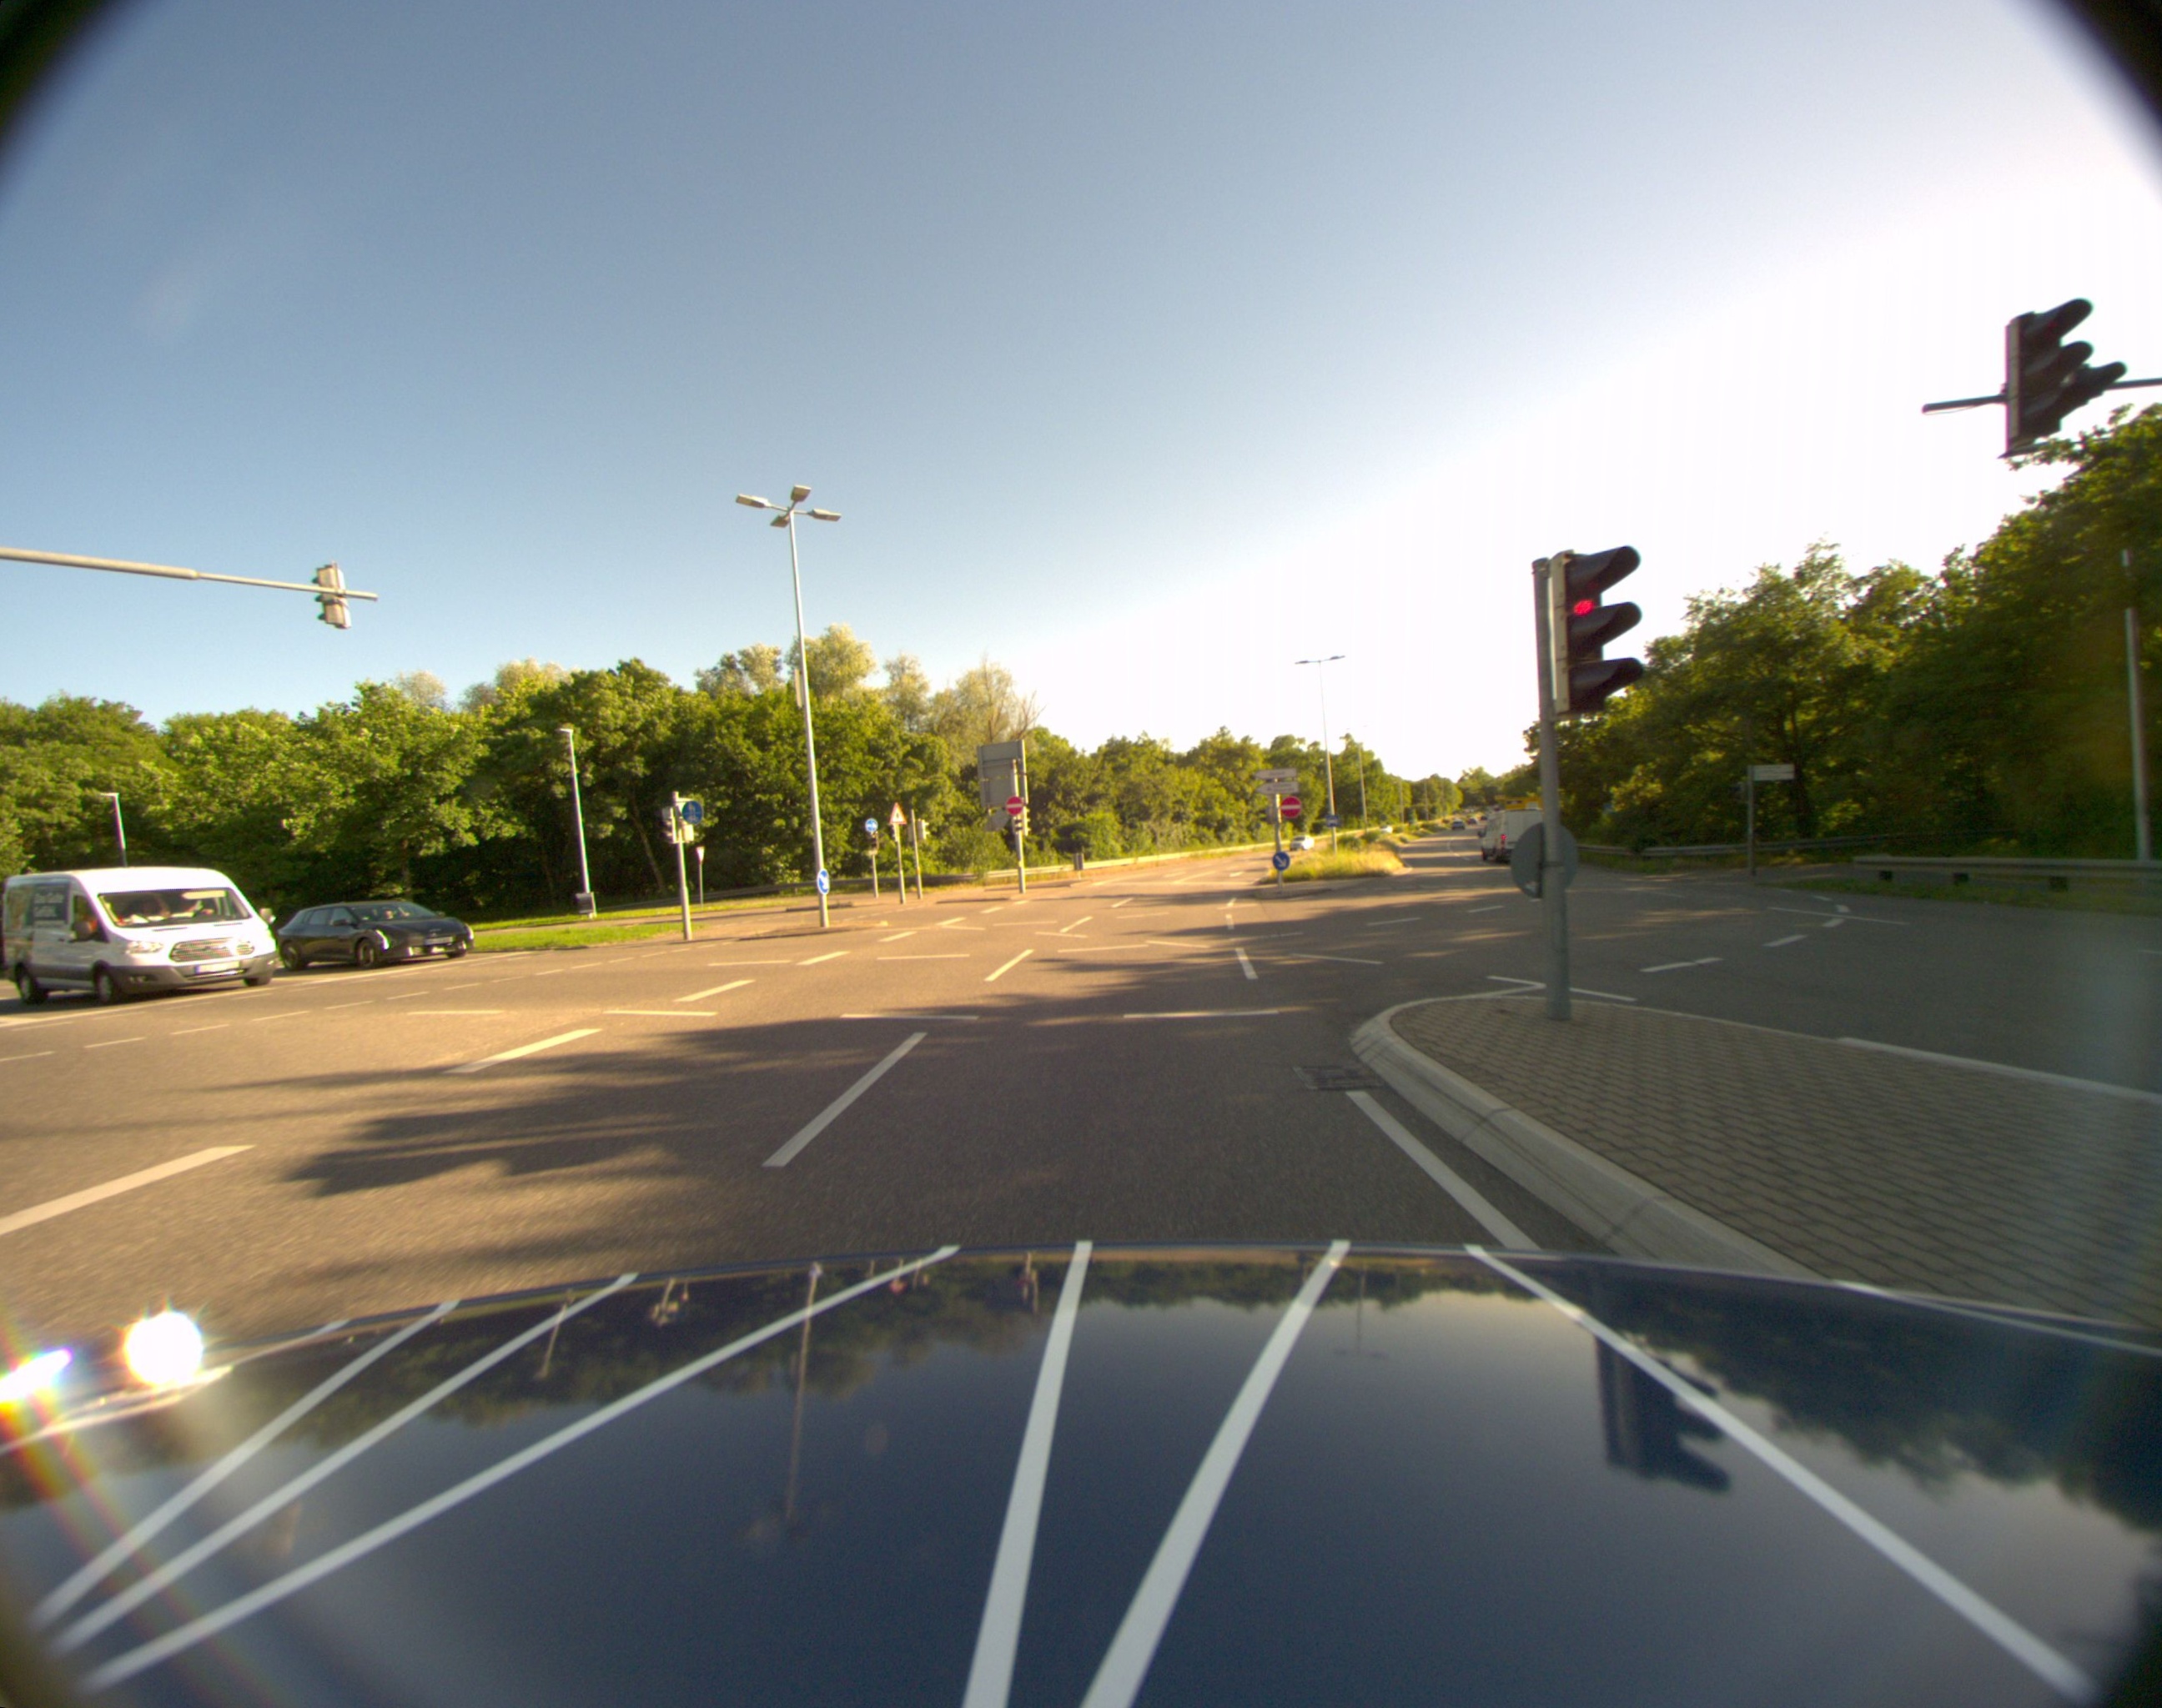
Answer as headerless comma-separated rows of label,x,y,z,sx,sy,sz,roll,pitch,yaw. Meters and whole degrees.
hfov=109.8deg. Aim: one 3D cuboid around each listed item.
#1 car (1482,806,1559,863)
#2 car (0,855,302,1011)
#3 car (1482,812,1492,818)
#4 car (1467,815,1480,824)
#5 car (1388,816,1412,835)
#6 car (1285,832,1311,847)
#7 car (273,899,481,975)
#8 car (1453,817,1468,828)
car,21.836,-0.962,38.060,2.266,2.538,6.406,-1,1,20
car,-17.780,1.475,14.361,5.694,2.484,2.118,-4,0,22
car,105.591,-10.164,197.731,1.749,1.482,3.909,-2,1,36
car,78.681,-6.943,152.332,1.900,1.608,4.007,-2,1,32
car,36.307,-3.274,86.429,1.995,2.002,4.007,-2,1,29
car,21.854,-1.450,76.364,1.761,1.428,4.336,-2,1,25
car,-16.129,1.862,17.427,4.080,1.431,1.772,-2,1,20
car,59.194,-4.871,118.527,1.913,1.651,4.006,-2,1,26
